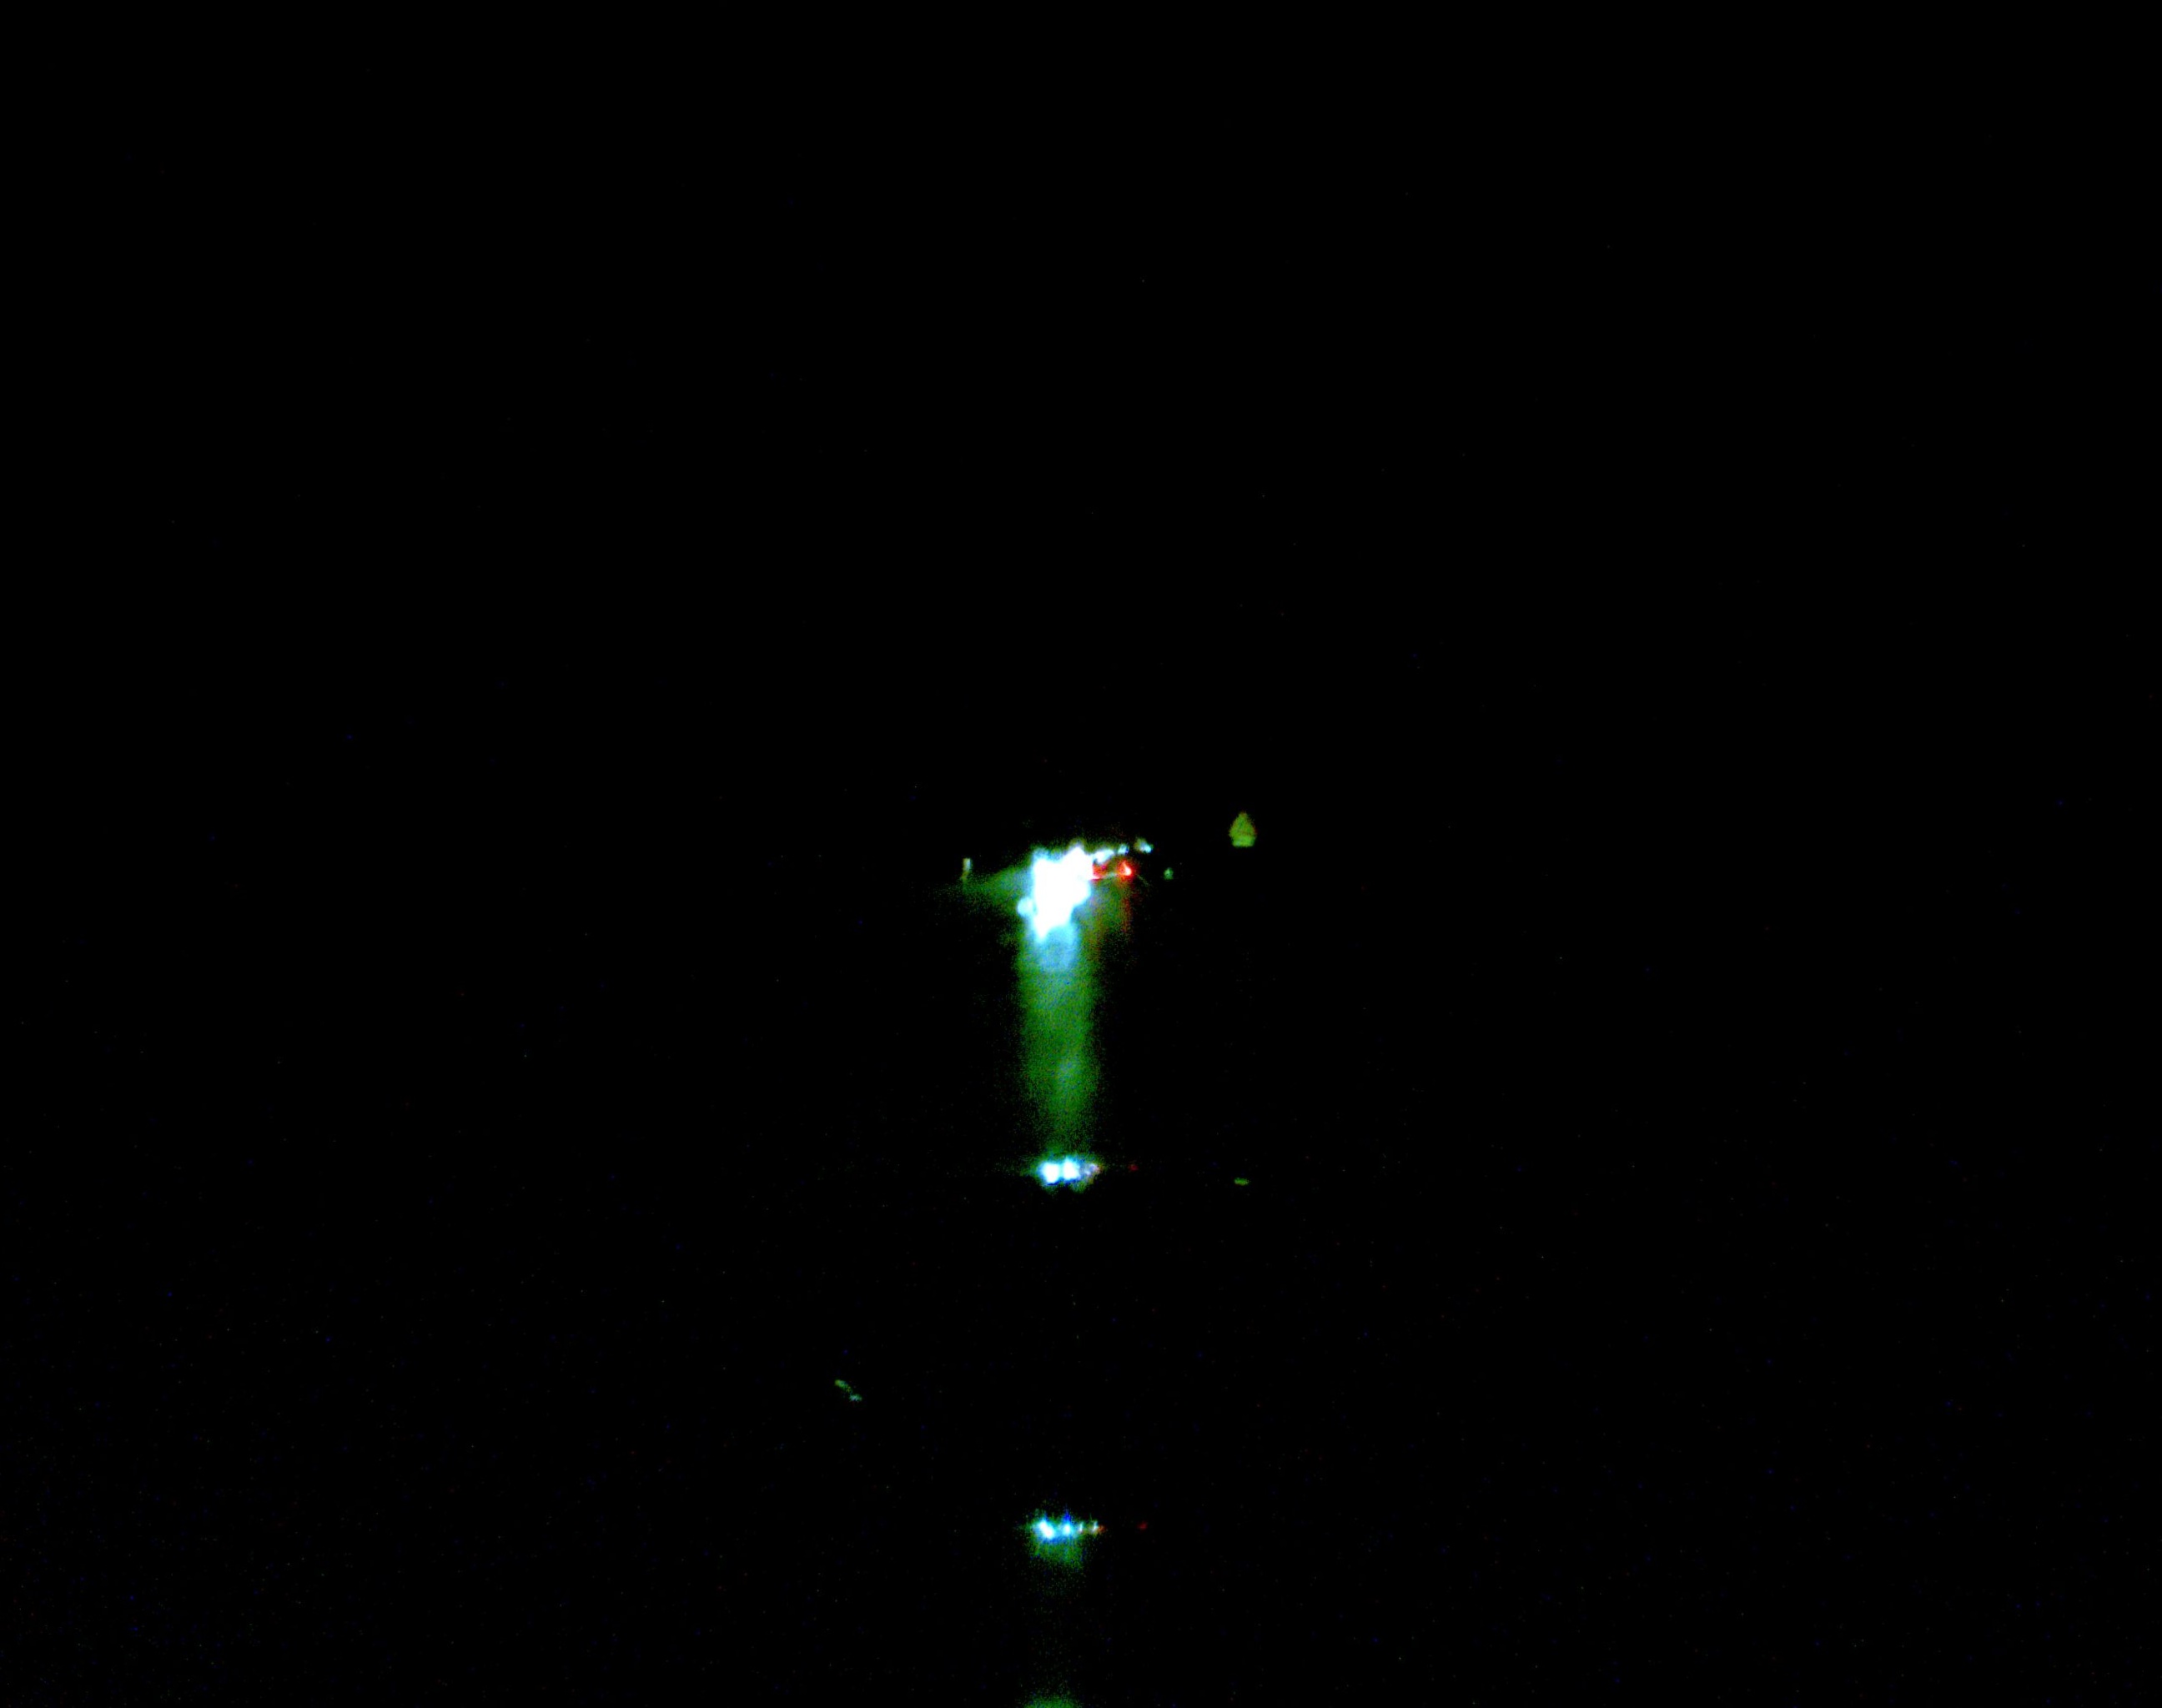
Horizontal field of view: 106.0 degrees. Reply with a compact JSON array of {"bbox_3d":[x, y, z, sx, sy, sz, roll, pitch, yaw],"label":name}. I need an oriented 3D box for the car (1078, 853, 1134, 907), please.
[{"bbox_3d":[0.988,0.959,32.539,2.085,2.013,4.001,-1,0,1],"label":"car"}]

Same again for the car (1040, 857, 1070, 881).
[{"bbox_3d":[-1.720,0.927,52.553,1.743,1.426,3.679,-2,0,-5],"label":"car"}]

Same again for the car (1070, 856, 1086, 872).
[{"bbox_3d":[-0.442,1.288,104.099,1.988,2.013,3.998,-1,0,-1],"label":"car"}]
